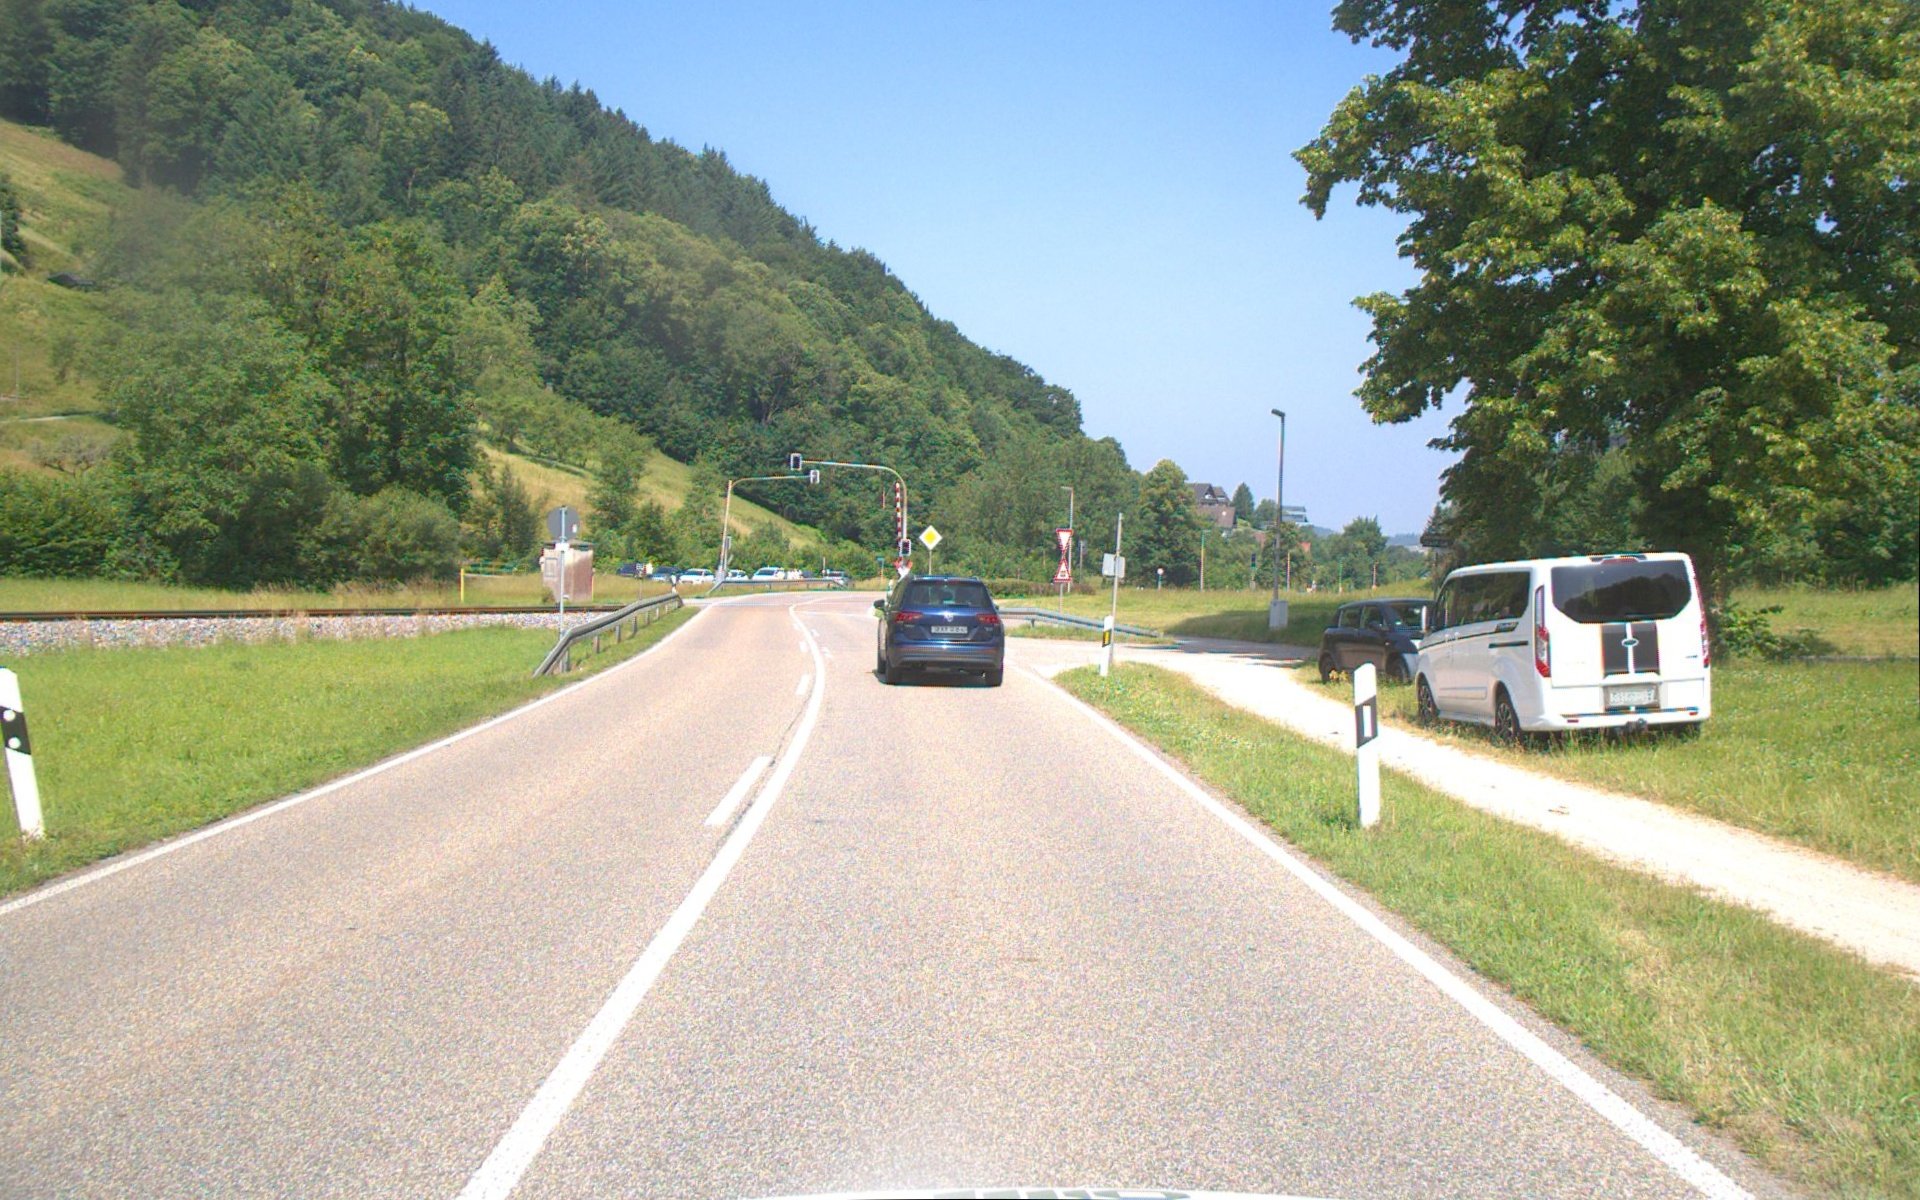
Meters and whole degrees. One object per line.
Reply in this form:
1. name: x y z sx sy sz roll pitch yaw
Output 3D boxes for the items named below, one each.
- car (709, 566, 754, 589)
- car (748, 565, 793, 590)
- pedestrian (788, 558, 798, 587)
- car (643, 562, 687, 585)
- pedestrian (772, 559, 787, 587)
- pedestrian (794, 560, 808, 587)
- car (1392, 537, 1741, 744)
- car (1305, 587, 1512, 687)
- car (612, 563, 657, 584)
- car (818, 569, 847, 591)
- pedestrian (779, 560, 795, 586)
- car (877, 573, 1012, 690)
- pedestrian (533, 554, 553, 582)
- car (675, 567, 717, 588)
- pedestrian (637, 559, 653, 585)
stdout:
1. car: -16.952 -1.651 122.955 1.951 1.670 4.906 1 1 9
2. car: -14.114 -1.663 123.147 1.831 1.813 4.776 2 1 12
3. pedestrian: -11.711 -1.924 115.733 0.647 1.989 0.533 0 1 -1
4. car: -22.007 -1.963 123.461 1.951 1.526 4.525 3 1 7
5. pedestrian: -12.576 -1.881 115.097 0.771 1.874 0.699 0 1 20
6. pedestrian: -11.175 -1.865 116.054 0.638 1.891 0.766 1 0 43
7. car: 6.542 0.362 18.533 1.959 1.880 4.868 -4 1 -1
8. car: 7.286 0.580 27.227 1.646 1.482 3.701 -1 0 -15
9. car: -24.401 -1.945 124.032 1.951 1.527 4.525 1 1 7
10. car: -9.316 -1.456 120.764 1.789 1.527 4.277 1 1 0
11. pedestrian: -12.135 -1.910 115.937 0.755 1.827 0.791 1 0 36
12. car: -0.325 0.437 25.992 1.816 1.678 4.136 1 0 -5
13. pedestrian: -30.020 -2.272 119.130 1.103 2.004 0.861 0 0 25
14. car: -19.599 -1.674 122.962 1.951 1.527 4.525 1 1 7
15. pedestrian: -22.255 -1.992 116.896 0.934 1.826 1.000 0 1 4
